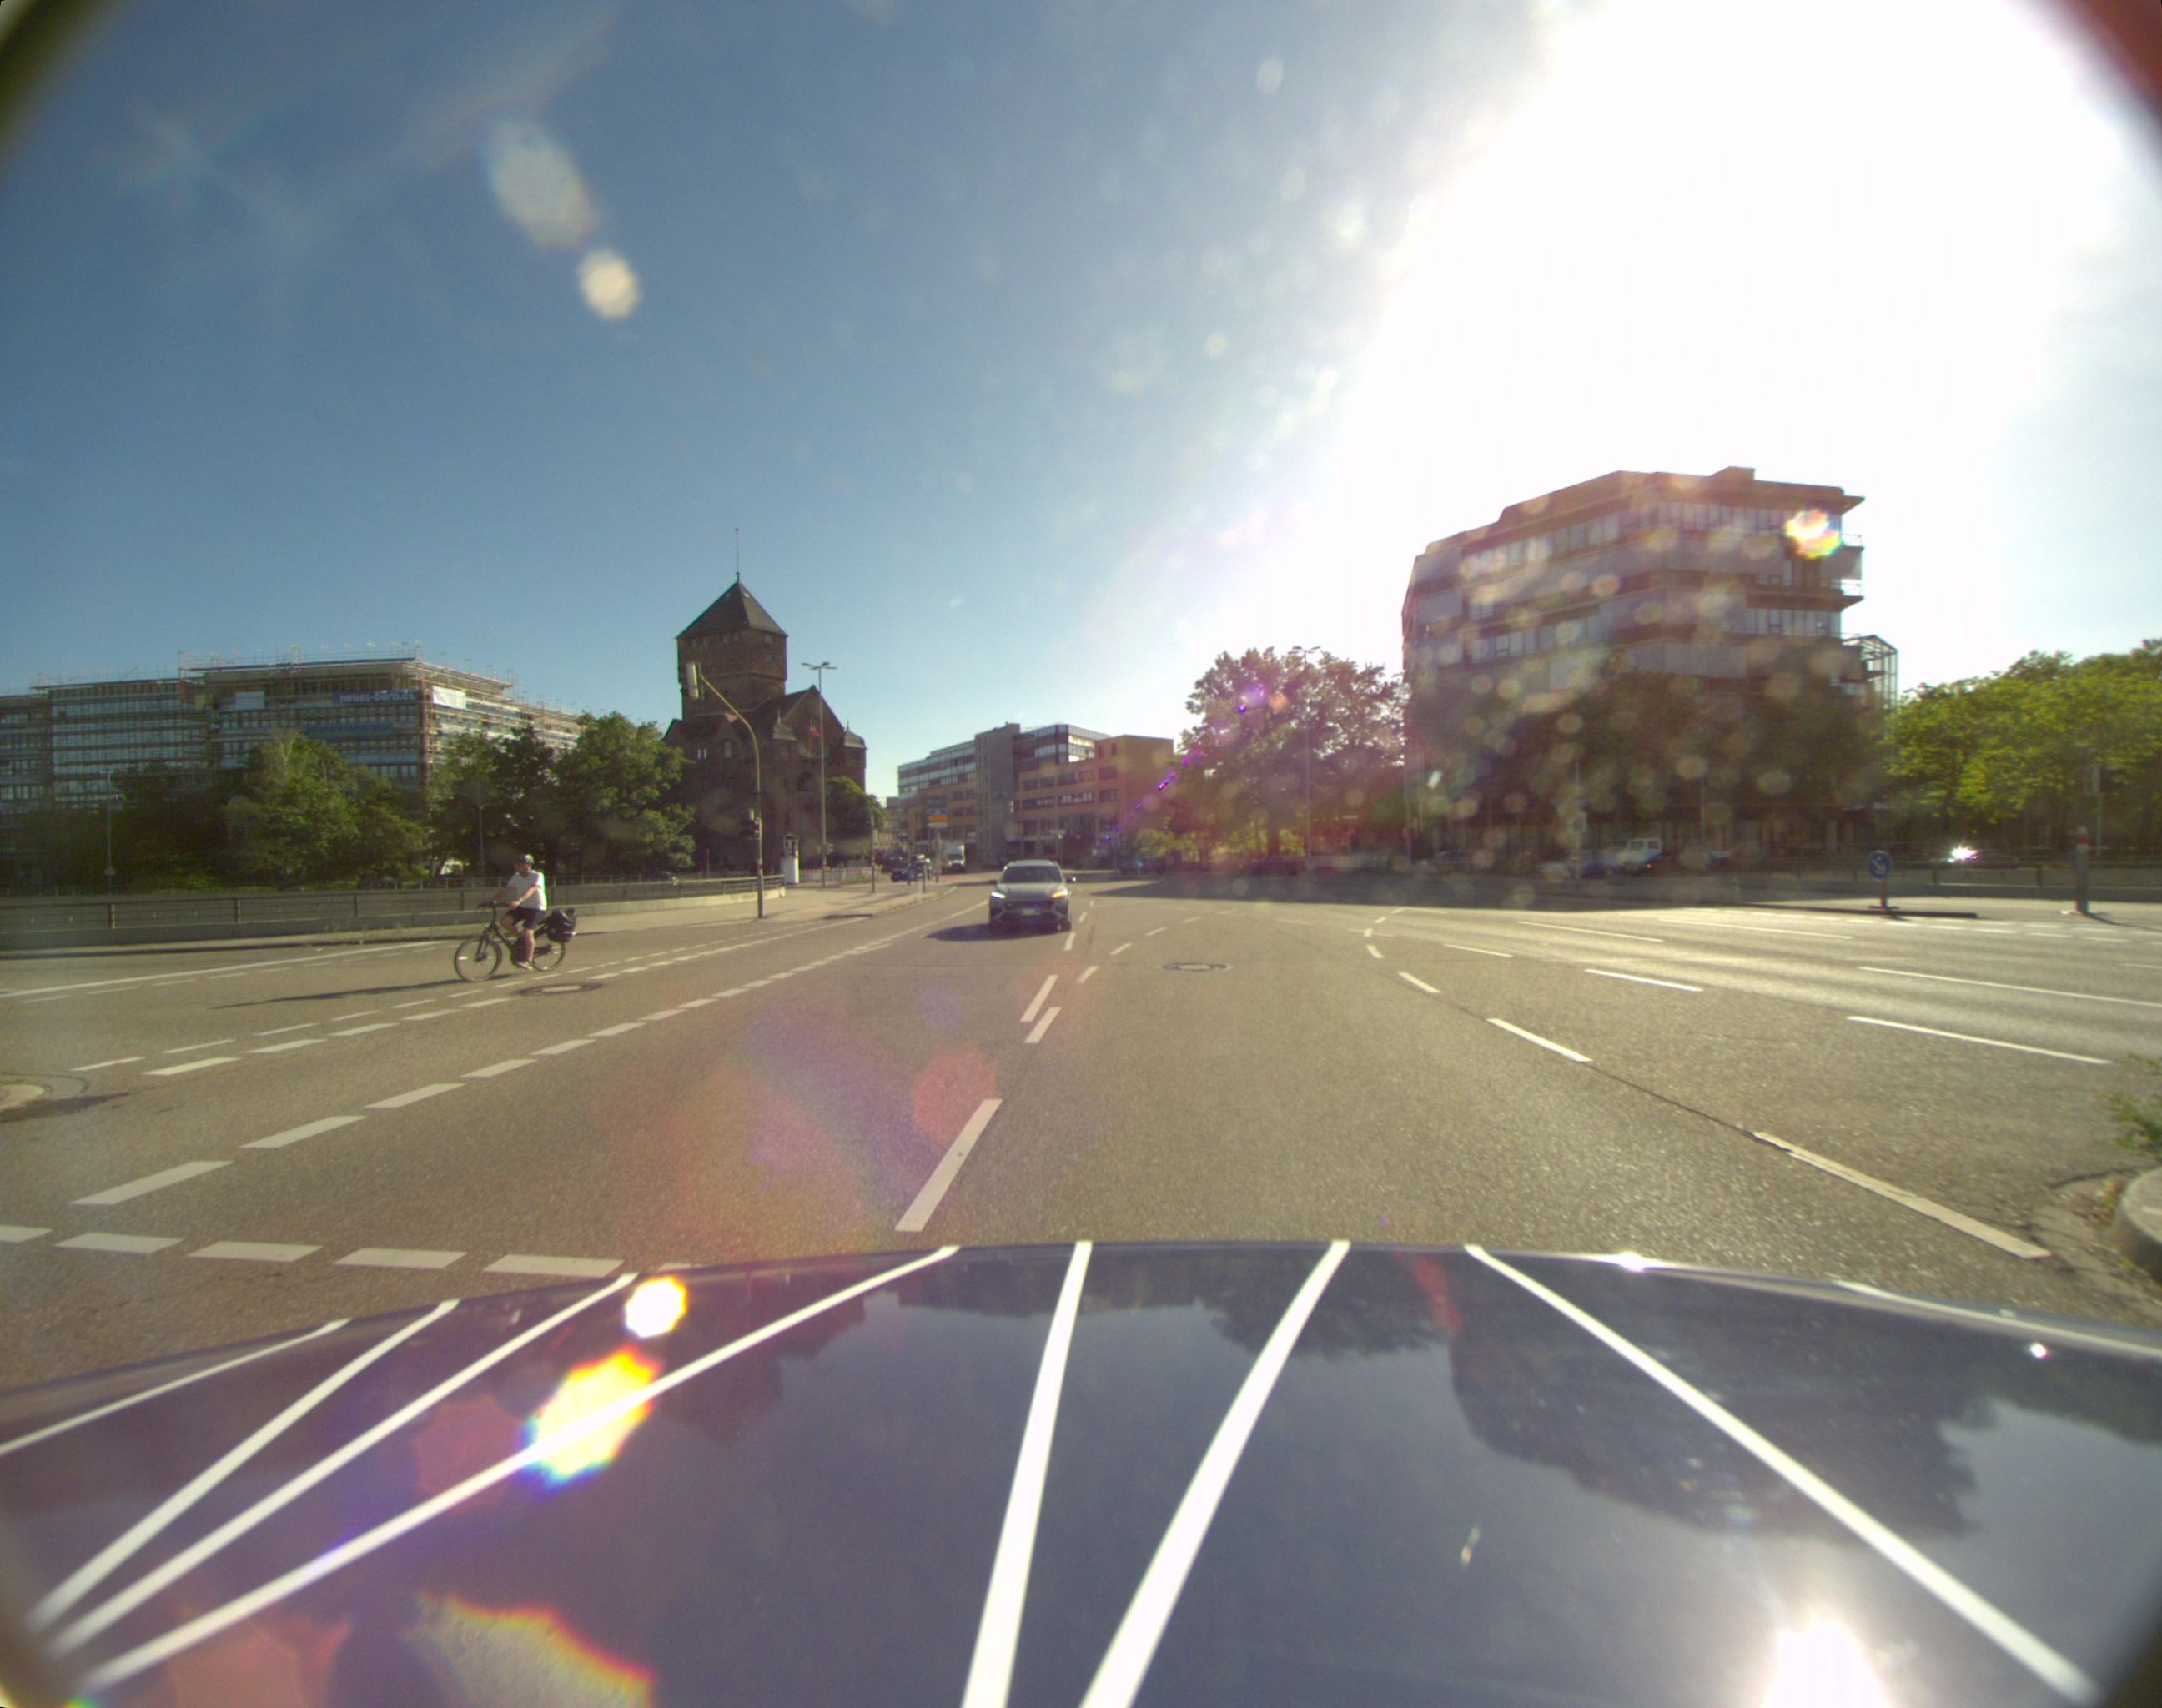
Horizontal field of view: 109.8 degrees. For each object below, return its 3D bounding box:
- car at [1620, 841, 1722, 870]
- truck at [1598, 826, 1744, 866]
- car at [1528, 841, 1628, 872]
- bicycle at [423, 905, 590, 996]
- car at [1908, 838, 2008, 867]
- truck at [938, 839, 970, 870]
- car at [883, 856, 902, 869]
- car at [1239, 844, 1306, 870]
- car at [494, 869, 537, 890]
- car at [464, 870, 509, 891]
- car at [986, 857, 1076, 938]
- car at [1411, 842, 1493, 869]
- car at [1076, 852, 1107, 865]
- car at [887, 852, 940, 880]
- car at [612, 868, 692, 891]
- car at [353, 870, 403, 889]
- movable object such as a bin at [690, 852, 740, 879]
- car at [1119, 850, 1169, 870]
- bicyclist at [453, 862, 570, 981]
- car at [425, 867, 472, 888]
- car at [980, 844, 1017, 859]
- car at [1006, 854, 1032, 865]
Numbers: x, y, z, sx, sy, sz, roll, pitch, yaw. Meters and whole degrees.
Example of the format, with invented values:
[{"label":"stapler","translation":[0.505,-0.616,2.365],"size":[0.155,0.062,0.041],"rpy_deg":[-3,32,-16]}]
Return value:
[{"label":"car","translation":[33.256,0.073,42.880],"size":[4.457,1.532,1.950],"rpy_deg":[-1,1,-7]},{"label":"truck","translation":[38.153,-0.516,49.292],"size":[7.506,2.346,2.164],"rpy_deg":[-1,1,5]},{"label":"car","translation":[27.439,0.124,42.010],"size":[4.457,1.532,1.950],"rpy_deg":[-1,1,-7]},{"label":"bicycle","translation":[-8.501,1.383,11.348],"size":[0.692,1.095,1.829],"rpy_deg":[-2,1,25]},{"label":"car","translation":[56.210,-0.112,48.748],"size":[4.193,1.690,1.815],"rpy_deg":[-1,1,2]},{"label":"truck","translation":[-13.661,0.078,81.432],"size":[2.506,3.110,6.949],"rpy_deg":[-2,1,-16]},{"label":"car","translation":[-26.614,1.161,107.359],"size":[1.760,1.749,4.775],"rpy_deg":[-2,1,-25]},{"label":"car","translation":[13.426,0.232,53.311],"size":[4.185,1.690,1.818],"rpy_deg":[-1,1,28]},{"label":"car","translation":[-45.747,2.007,61.585],"size":[2.002,1.552,3.774],"rpy_deg":[-1,0,-24]},{"label":"car","translation":[-48.597,2.133,62.201],"size":[2.002,1.552,3.774],"rpy_deg":[-1,0,-24]},{"label":"car","translation":[-1.167,0.935,18.232],"size":[1.879,1.612,4.195],"rpy_deg":[-1,1,-3]},{"label":"car","translation":[24.509,0.107,50.344],"size":[4.503,1.635,1.881],"rpy_deg":[-1,1,7]},{"label":"car","translation":[1.205,0.530,91.215],"size":[1.662,1.500,4.369],"rpy_deg":[1,-1,-31]},{"label":"car","translation":[-14.462,1.013,65.799],"size":[1.947,2.248,4.793],"rpy_deg":[-1,1,24]},{"label":"car","translation":[-31.135,1.861,55.253],"size":[4.637,1.462,1.878],"rpy_deg":[-1,1,-12]},{"label":"car","translation":[-60.032,2.188,64.958],"size":[2.002,1.445,3.774],"rpy_deg":[-1,0,-24]},{"label":"movable object such as a bin","translation":[-34.636,1.098,71.971],"size":[3.991,2.395,2.003],"rpy_deg":[-1,1,21]},{"label":"car","translation":[5.196,0.522,62.831],"size":[1.883,1.349,4.501],"rpy_deg":[1,-4,-30]},{"label":"bicyclist","translation":[-8.505,0.967,11.382],"size":[0.724,1.650,1.114],"rpy_deg":[-2,1,25]},{"label":"car","translation":[-52.505,1.942,63.144],"size":[2.002,1.552,3.774],"rpy_deg":[-1,0,-24]},{"label":"car","translation":[-9.545,-0.302,87.298],"size":[1.955,1.612,4.772],"rpy_deg":[-2,1,-39]},{"label":"car","translation":[-8.760,0.812,106.743],"size":[1.642,1.515,4.149],"rpy_deg":[-2,1,-38]}]
